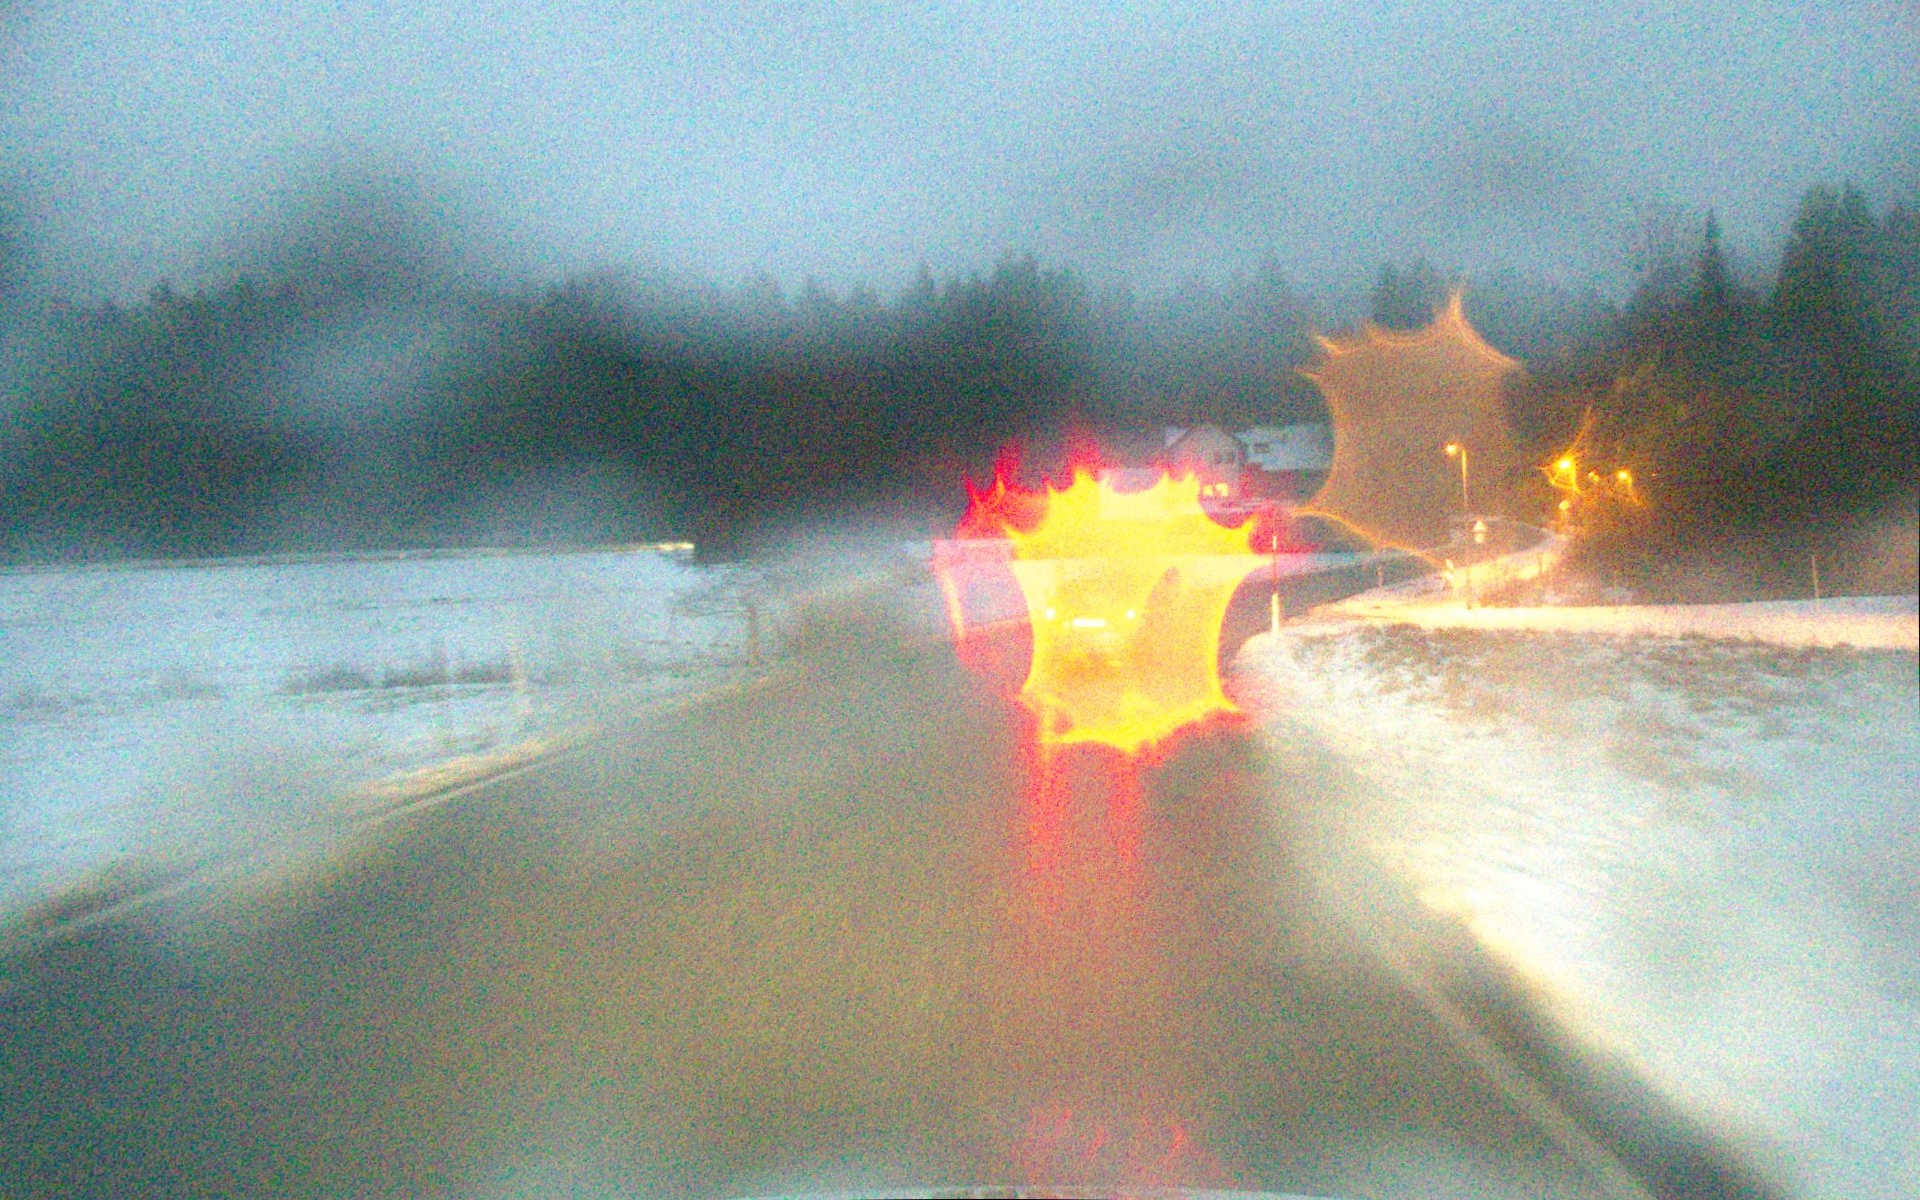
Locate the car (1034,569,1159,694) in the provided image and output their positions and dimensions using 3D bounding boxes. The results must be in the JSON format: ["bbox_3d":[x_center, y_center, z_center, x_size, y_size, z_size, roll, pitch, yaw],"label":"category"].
[{"bbox_3d":[2.180,0.470,27.272,1.785,1.828,3.578,-3,0,1],"label":"car"}]
